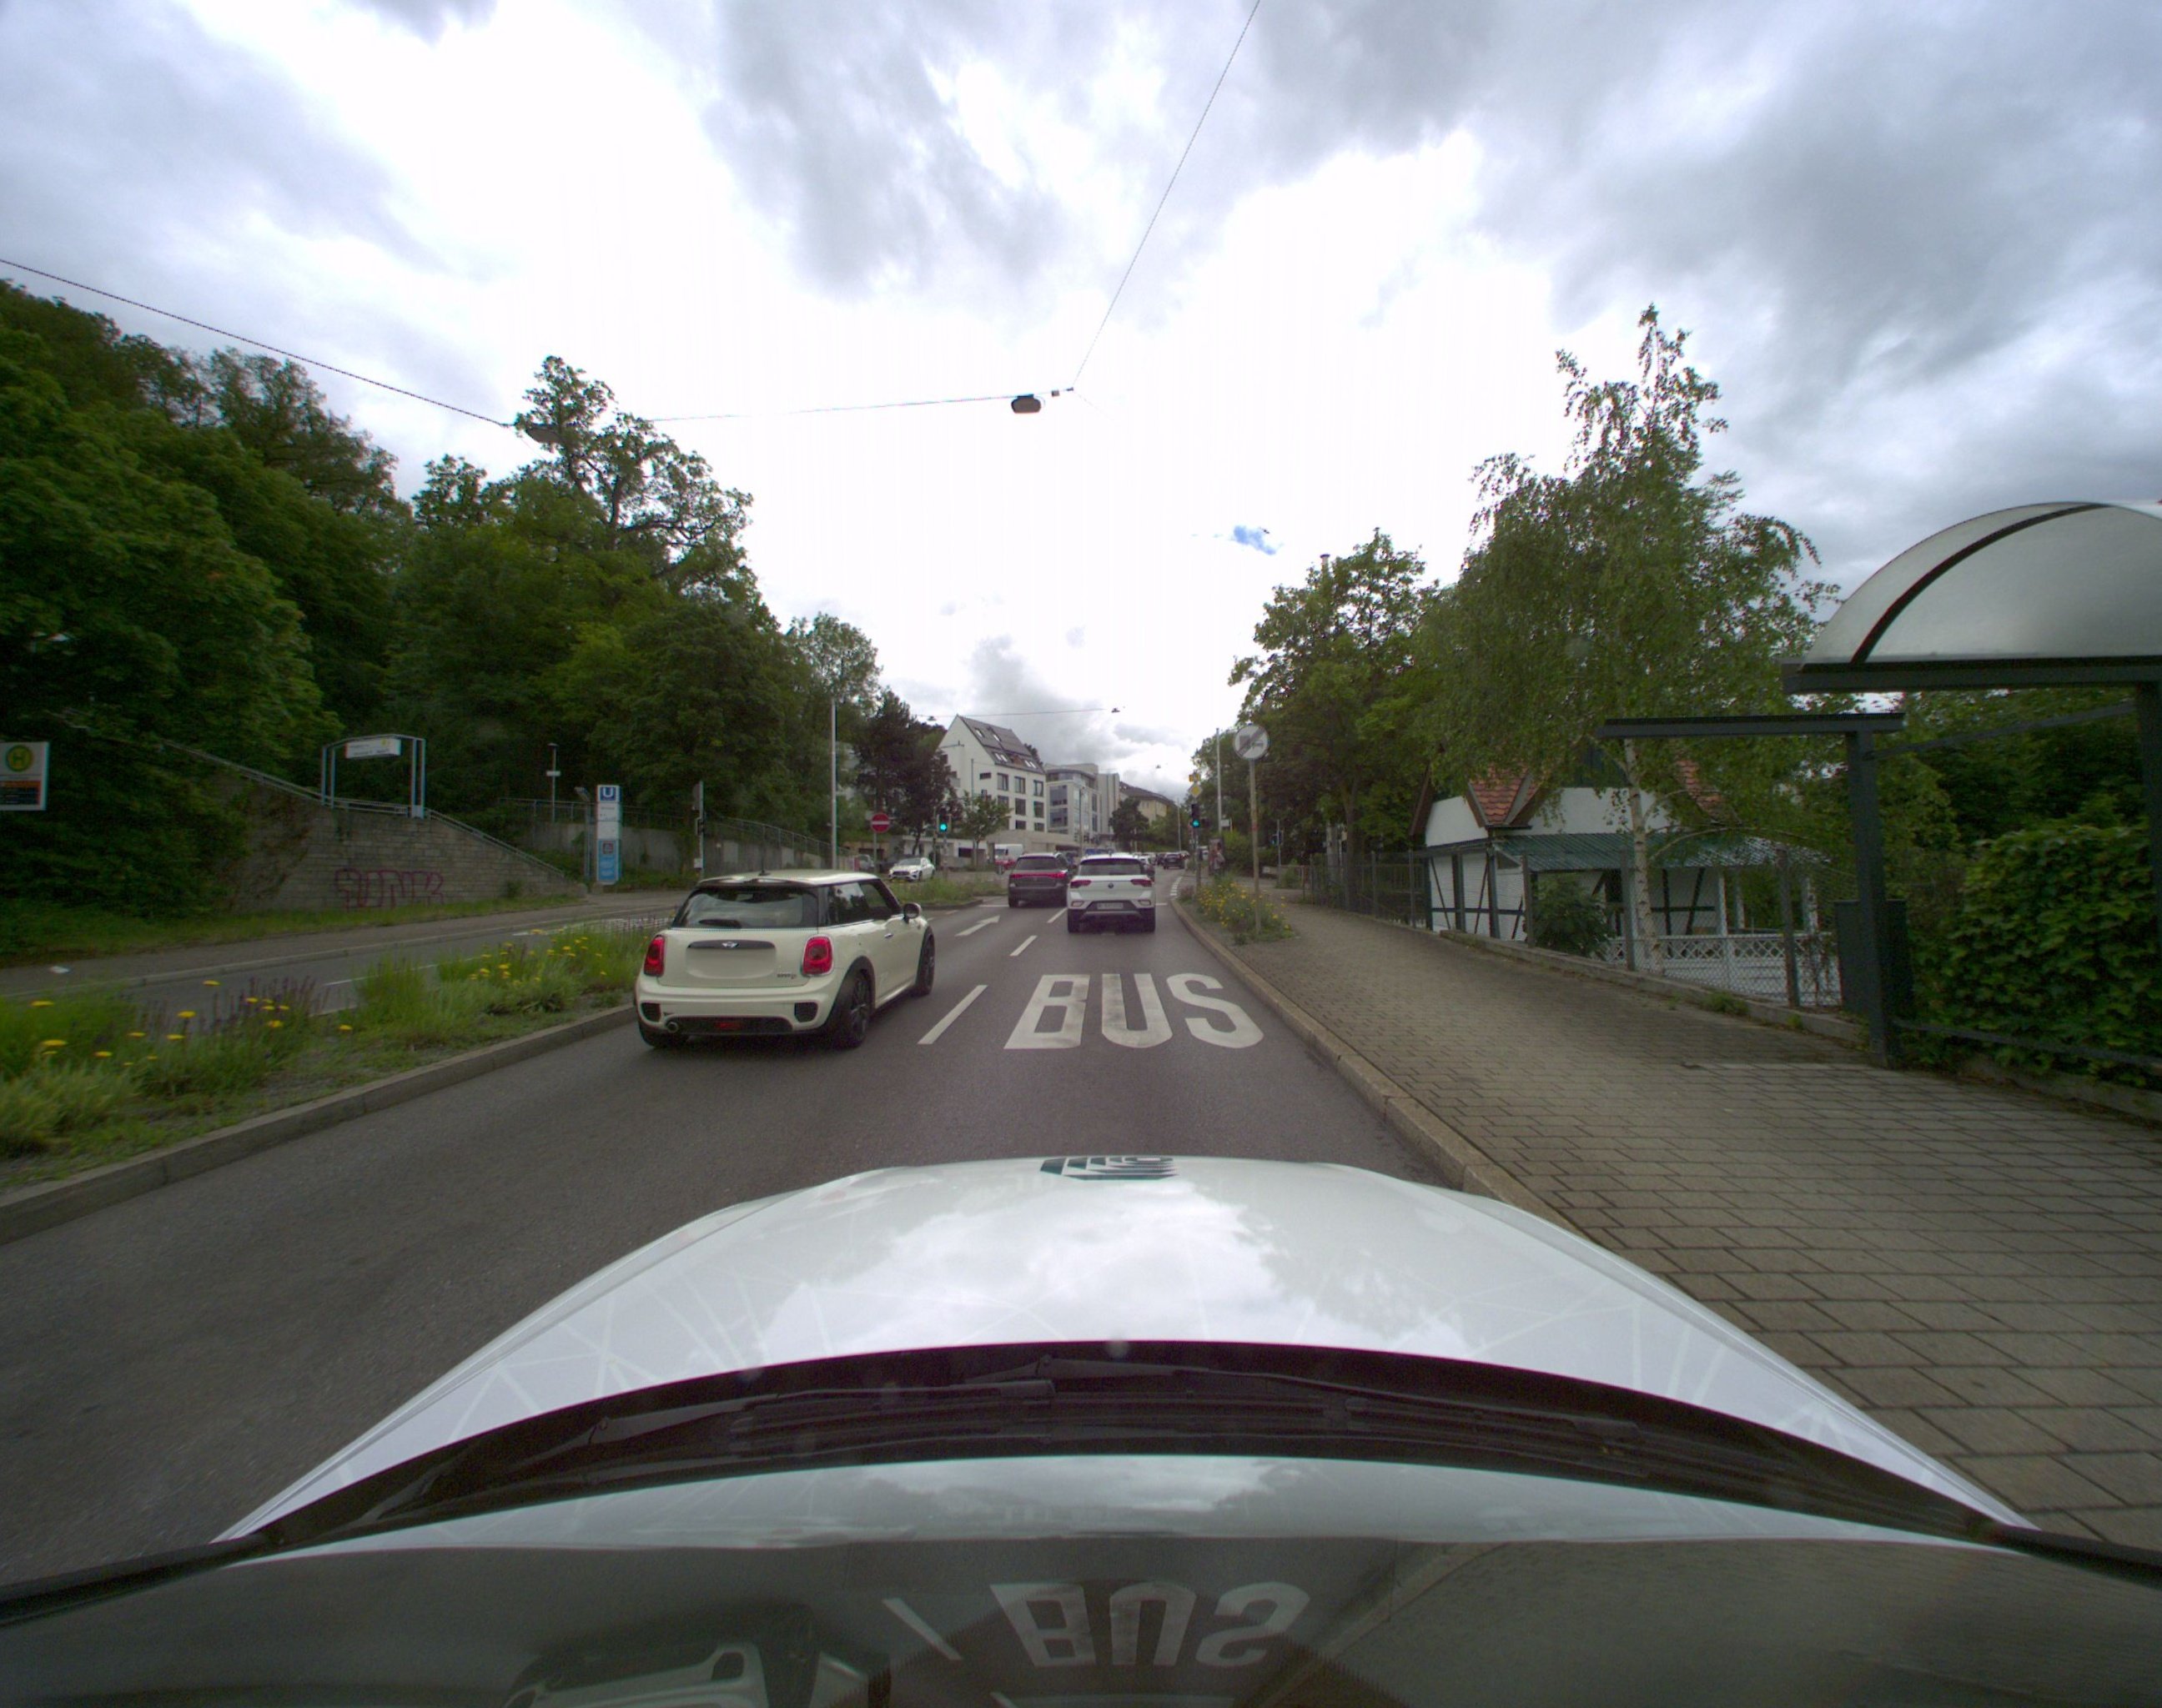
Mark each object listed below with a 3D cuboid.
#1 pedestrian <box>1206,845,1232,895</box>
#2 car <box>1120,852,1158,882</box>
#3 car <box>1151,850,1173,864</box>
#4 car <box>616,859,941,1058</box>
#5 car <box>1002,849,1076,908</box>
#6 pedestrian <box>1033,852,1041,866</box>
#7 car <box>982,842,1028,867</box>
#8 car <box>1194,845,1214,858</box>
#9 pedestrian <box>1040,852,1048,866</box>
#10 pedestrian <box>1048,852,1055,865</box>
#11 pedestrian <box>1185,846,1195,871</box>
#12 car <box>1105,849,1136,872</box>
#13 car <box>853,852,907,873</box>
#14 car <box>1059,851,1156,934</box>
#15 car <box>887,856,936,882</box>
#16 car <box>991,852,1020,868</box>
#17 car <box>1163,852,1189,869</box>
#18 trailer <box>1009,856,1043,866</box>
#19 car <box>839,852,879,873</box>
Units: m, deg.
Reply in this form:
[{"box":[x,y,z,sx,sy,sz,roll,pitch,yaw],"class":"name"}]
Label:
[{"box":[4.825,0.558,28.467,0.687,1.689,0.623,-3,-1,23],"class":"pedestrian"},{"box":[3.260,0.658,44.744,1.864,1.501,4.563,2,0,6],"class":"car"},{"box":[9.229,0.352,92.066,1.845,1.500,4.071,-2,0,14],"class":"car"},{"box":[-2.533,0.780,7.776,1.621,1.393,3.568,-2,0,2],"class":"car"},{"box":[-1.241,0.707,25.959,1.805,1.652,4.640,-2,0,3],"class":"car"},{"box":[-5.397,0.623,100.040,0.620,1.640,0.676,1,0,24],"class":"pedestrian"},{"box":[-8.158,0.039,88.212,2.213,2.568,7.456,-1,0,18],"class":"car"},{"box":[15.316,-0.275,101.097,1.843,1.500,4.073,-2,0,17],"class":"car"},{"box":[-4.572,0.600,100.166,0.678,1.640,0.665,1,0,-31],"class":"pedestrian"},{"box":[-3.706,0.579,102.488,0.678,1.640,0.665,1,0,-31],"class":"pedestrian"},{"box":[8.069,0.317,60.465,0.689,1.834,0.621,0,0,9],"class":"pedestrian"},{"box":[3.038,0.454,61.899,1.847,1.652,4.648,-2,0,9],"class":"car"},{"box":[-16.248,0.677,65.896,4.120,1.540,1.593,-1,0,-11],"class":"car"},{"box":[0.521,0.735,17.394,1.805,1.539,3.689,-2,0,0],"class":"car"},{"box":[-9.982,0.874,48.322,1.710,1.393,4.613,-1,0,3],"class":"car"},{"box":[-7.514,0.608,81.211,1.610,1.465,3.941,-1,0,14],"class":"car"},{"box":[8.988,0.591,76.838,1.860,1.501,4.571,2,0,13],"class":"car"},{"box":[-6.303,0.795,93.967,2.228,1.112,4.644,-1,0,18],"class":"trailer"},{"box":[-16.722,0.648,61.381,2.712,1.520,1.553,2,-1,-22],"class":"car"}]
